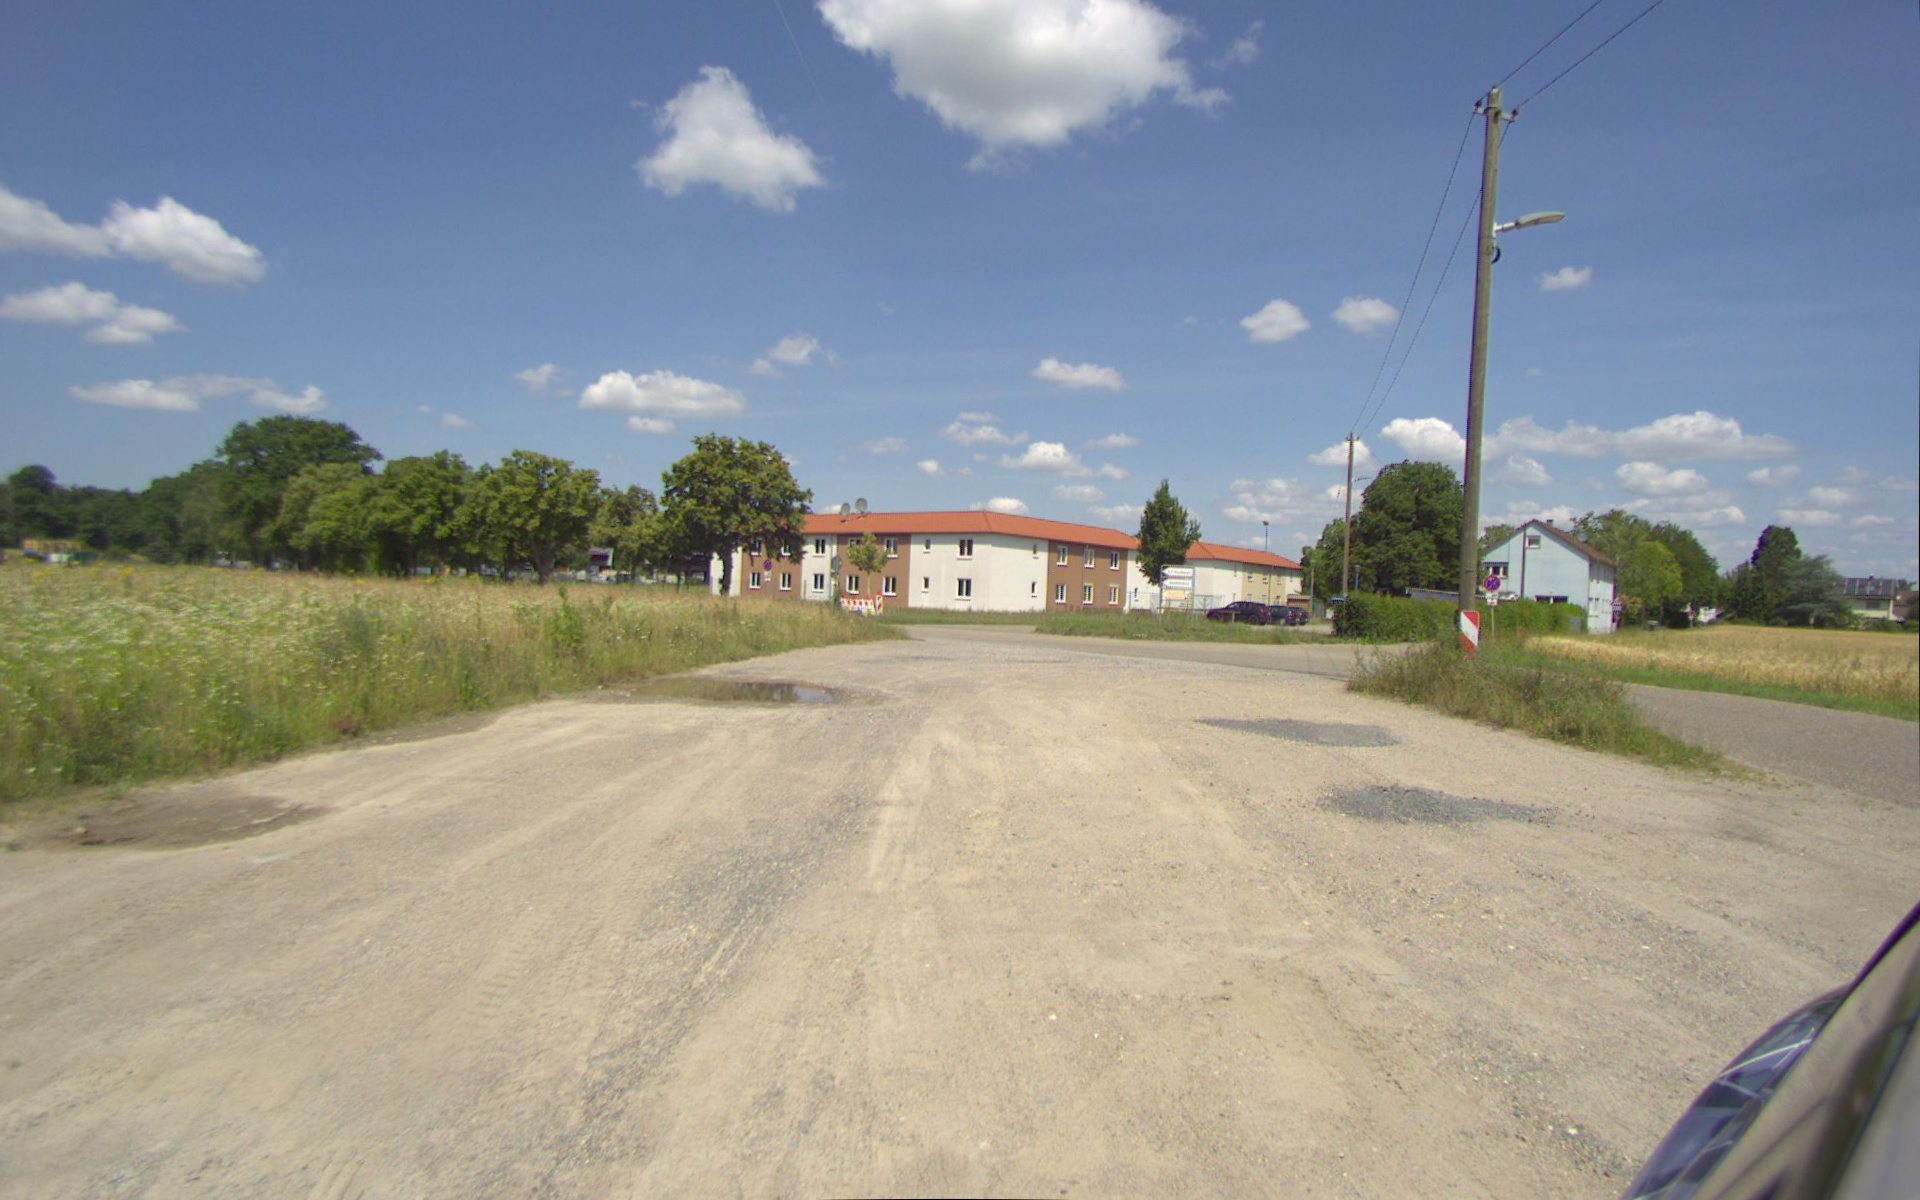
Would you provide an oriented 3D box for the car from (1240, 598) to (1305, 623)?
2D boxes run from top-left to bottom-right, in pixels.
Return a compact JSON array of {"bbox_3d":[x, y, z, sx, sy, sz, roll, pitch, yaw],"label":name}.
[{"bbox_3d":[22.842,0.767,73.999,4.129,1.635,1.972,3,0,39],"label":"car"}]

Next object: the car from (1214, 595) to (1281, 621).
[{"bbox_3d":[20.197,0.553,71.162,4.129,1.635,1.972,3,0,39],"label":"car"}]
